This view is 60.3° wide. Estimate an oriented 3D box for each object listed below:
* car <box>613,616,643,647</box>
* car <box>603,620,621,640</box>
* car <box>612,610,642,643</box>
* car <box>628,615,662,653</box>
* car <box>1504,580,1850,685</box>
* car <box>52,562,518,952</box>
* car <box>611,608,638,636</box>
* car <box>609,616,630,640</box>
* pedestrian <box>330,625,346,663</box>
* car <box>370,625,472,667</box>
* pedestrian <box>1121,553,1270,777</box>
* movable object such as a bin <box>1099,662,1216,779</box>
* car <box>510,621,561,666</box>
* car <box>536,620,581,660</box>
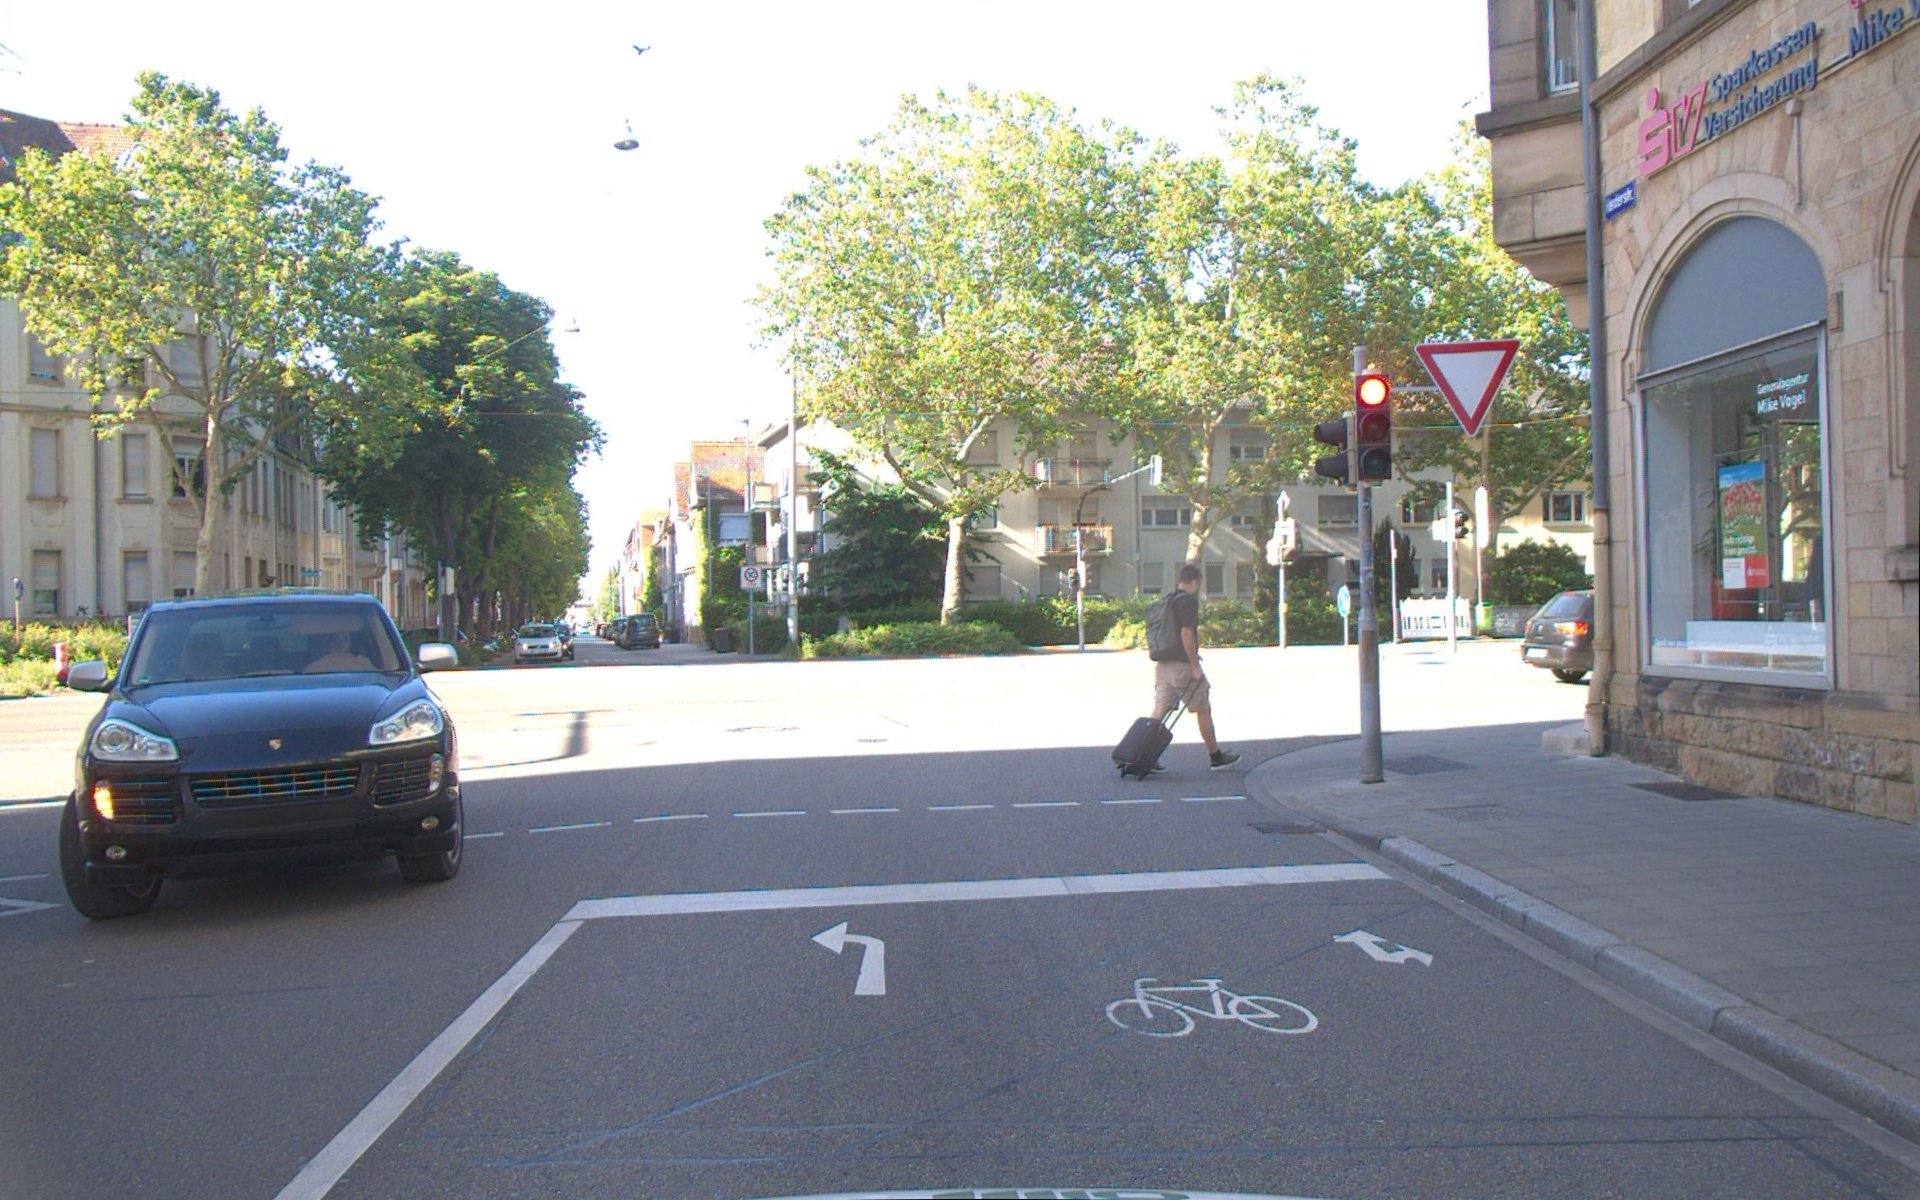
[{"bbox_3d":[-23.194,2.168,115.566,1.958,2.049,3.988,1,0,-12],"label":"car"},{"bbox_3d":[-37.930,3.245,180.201,1.742,1.952,3.523,-3,0,-12],"label":"car"},{"bbox_3d":[-21.009,1.649,104.306,1.742,1.952,3.523,-3,0,-12],"label":"car"},{"bbox_3d":[-17.975,1.913,94.233,1.742,1.952,3.523,-3,0,-12],"label":"car"},{"bbox_3d":[10.883,0.476,25.324,4.522,1.482,1.730,-1,0,1],"label":"car"},{"bbox_3d":[-4.255,0.762,10.165,2.048,1.723,4.668,-3,0,-26],"label":"car"},{"bbox_3d":[-25.795,1.688,127.206,1.958,2.049,3.988,1,0,-12],"label":"car"},{"bbox_3d":[-30.041,2.443,145.952,1.742,1.952,3.523,-3,0,-12],"label":"car"},{"bbox_3d":[-24.453,1.744,65.026,0.480,1.467,0.702,1,-1,-16],"label":"pedestrian"},{"bbox_3d":[-20.445,1.733,62.822,3.572,1.483,1.650,-1,0,-16],"label":"car"},{"bbox_3d":[2.064,0.547,14.554,1.048,1.881,0.745,-2,0,-16],"label":"pedestrian"},{"bbox_3d":[1.658,1.001,13.927,0.847,0.907,0.508,-2,0,-13],"label":"movable object such as a bin"},{"bbox_3d":[-16.166,1.634,63.094,1.669,1.509,3.523,-3,1,-12],"label":"car"},{"bbox_3d":[-16.775,1.652,69.265,1.669,1.509,3.523,-3,1,-12],"label":"car"}]
